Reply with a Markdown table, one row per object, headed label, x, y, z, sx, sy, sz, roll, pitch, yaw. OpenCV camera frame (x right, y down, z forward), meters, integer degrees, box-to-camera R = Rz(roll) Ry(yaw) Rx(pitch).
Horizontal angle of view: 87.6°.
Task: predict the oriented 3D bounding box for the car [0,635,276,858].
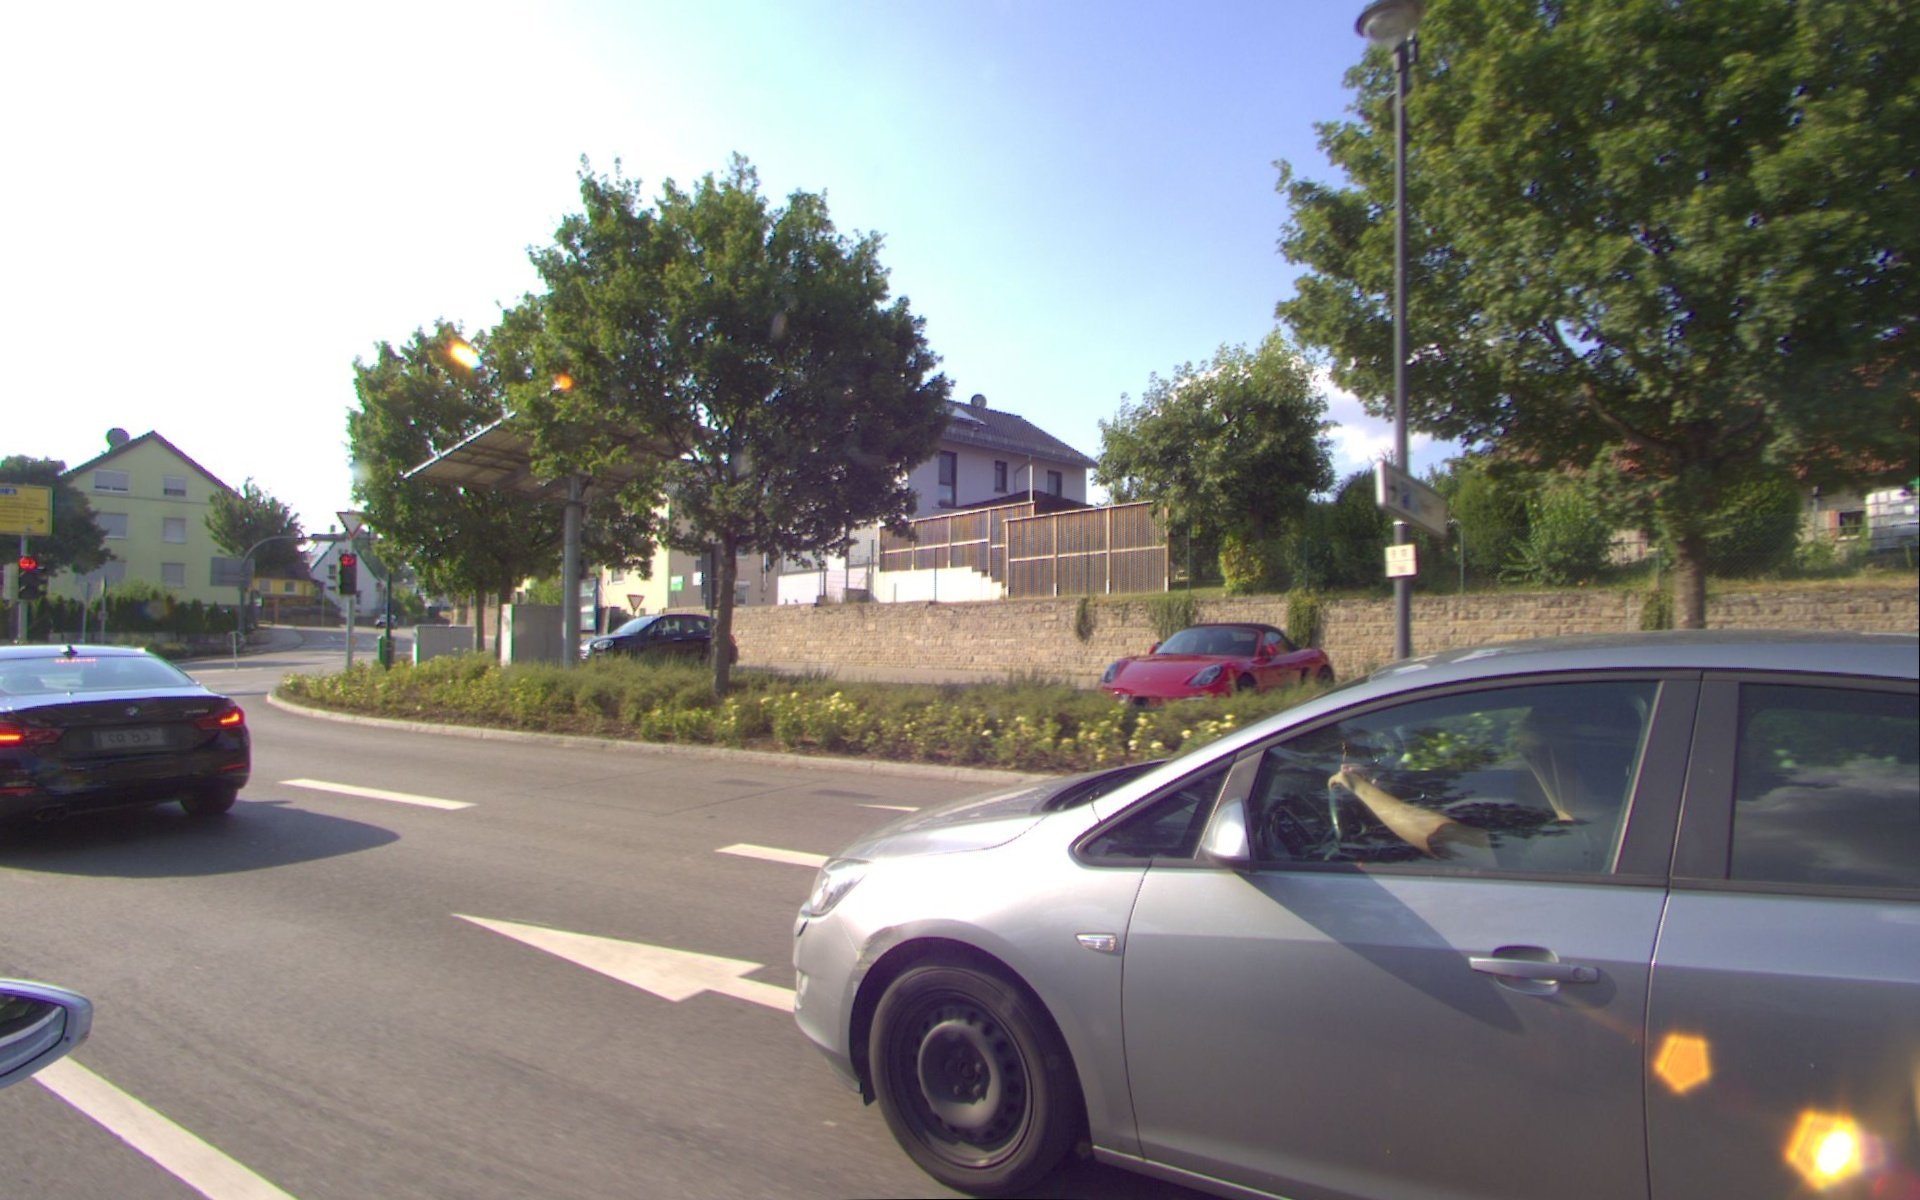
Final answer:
| label | x | y | z | sx | sy | sz | roll | pitch | yaw |
| --- | --- | --- | --- | --- | --- | --- | --- | --- | --- |
| car | -7.509 | 0.988 | 8.094 | 4.287 | 1.406 | 1.812 | -1 | -2 | 34 |

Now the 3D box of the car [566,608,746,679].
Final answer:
| label | x | y | z | sx | sy | sz | roll | pitch | yaw |
| --- | --- | --- | --- | --- | --- | --- | --- | --- | --- |
| car | -7.568 | 1.073 | 25.176 | 1.835 | 1.628 | 3.964 | -1 | -2 | 44 |

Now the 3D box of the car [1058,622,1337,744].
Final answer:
| label | x | y | z | sx | sy | sz | roll | pitch | yaw |
| --- | --- | --- | --- | --- | --- | --- | --- | --- | --- |
| car | 3.129 | 0.951 | 12.691 | 1.833 | 1.288 | 3.969 | -1 | -2 | 41 |

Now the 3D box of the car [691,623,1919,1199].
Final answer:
| label | x | y | z | sx | sy | sz | roll | pitch | yaw |
| --- | --- | --- | --- | --- | --- | --- | --- | --- | --- |
| car | 1.372 | 0.804 | 2.737 | 4.107 | 1.460 | 1.741 | -1 | -2 | 32 |

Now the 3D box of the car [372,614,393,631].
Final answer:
| label | x | y | z | sx | sy | sz | roll | pitch | yaw |
| --- | --- | --- | --- | --- | --- | --- | --- | --- | --- |
| car | -62.509 | 2.441 | 108.426 | 1.765 | 1.527 | 4.050 | 2 | 1 | -27 |
